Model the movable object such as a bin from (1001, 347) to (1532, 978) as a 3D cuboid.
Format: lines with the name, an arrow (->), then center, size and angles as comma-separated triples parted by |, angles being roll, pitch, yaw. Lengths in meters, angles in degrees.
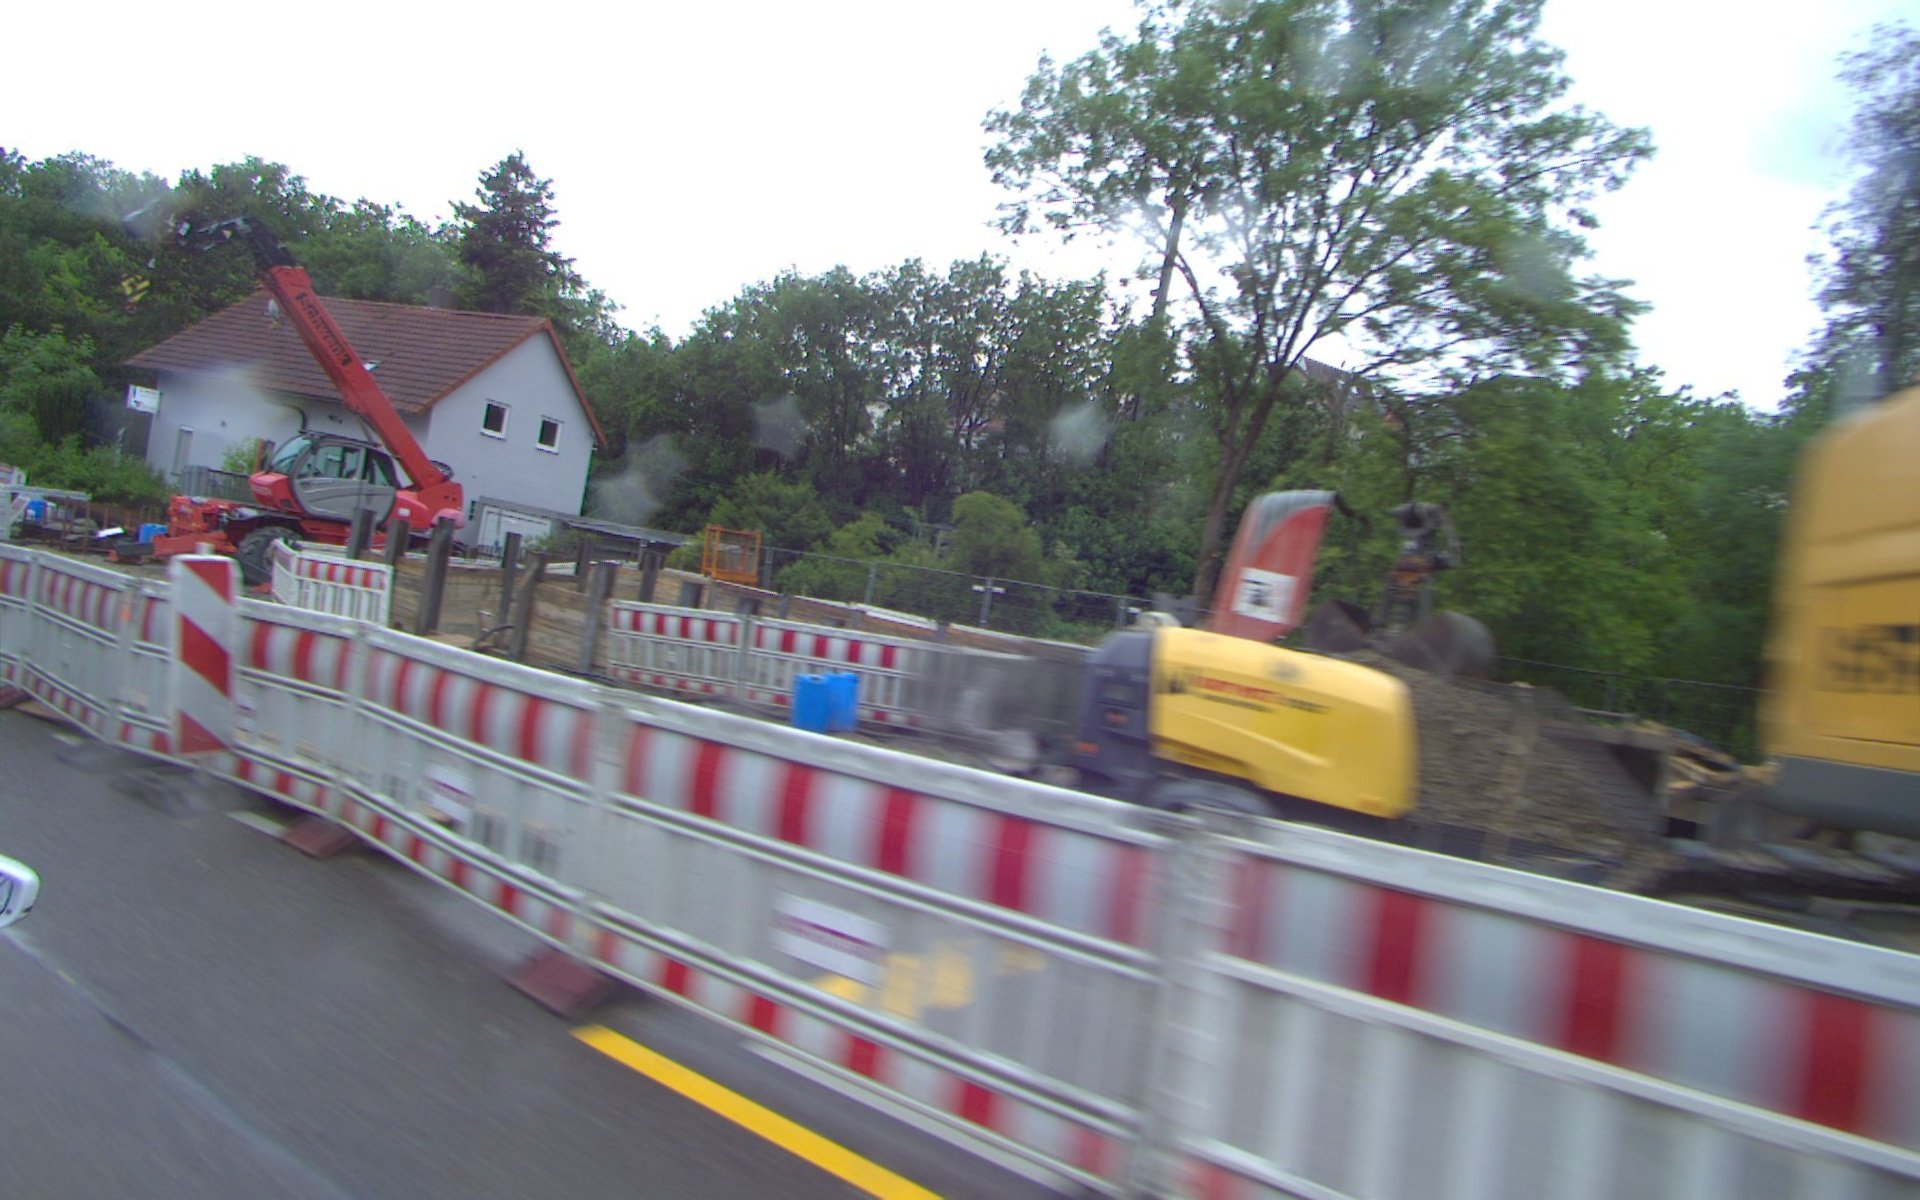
movable object such as a bin -> 2.394, 0.400, 7.834 | 2.364, 3.241, 4.001 | 14, 1, 21

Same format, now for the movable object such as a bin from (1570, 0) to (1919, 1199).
movable object such as a bin -> 8.258, -0.097, 3.372 | 10.626, 4.978, 3.066 | 6, -1, -6

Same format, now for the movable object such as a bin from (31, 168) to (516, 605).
movable object such as a bin -> -13.333, -3.670, 20.373 | 2.992, 6.771, 6.966 | 7, 0, 27
